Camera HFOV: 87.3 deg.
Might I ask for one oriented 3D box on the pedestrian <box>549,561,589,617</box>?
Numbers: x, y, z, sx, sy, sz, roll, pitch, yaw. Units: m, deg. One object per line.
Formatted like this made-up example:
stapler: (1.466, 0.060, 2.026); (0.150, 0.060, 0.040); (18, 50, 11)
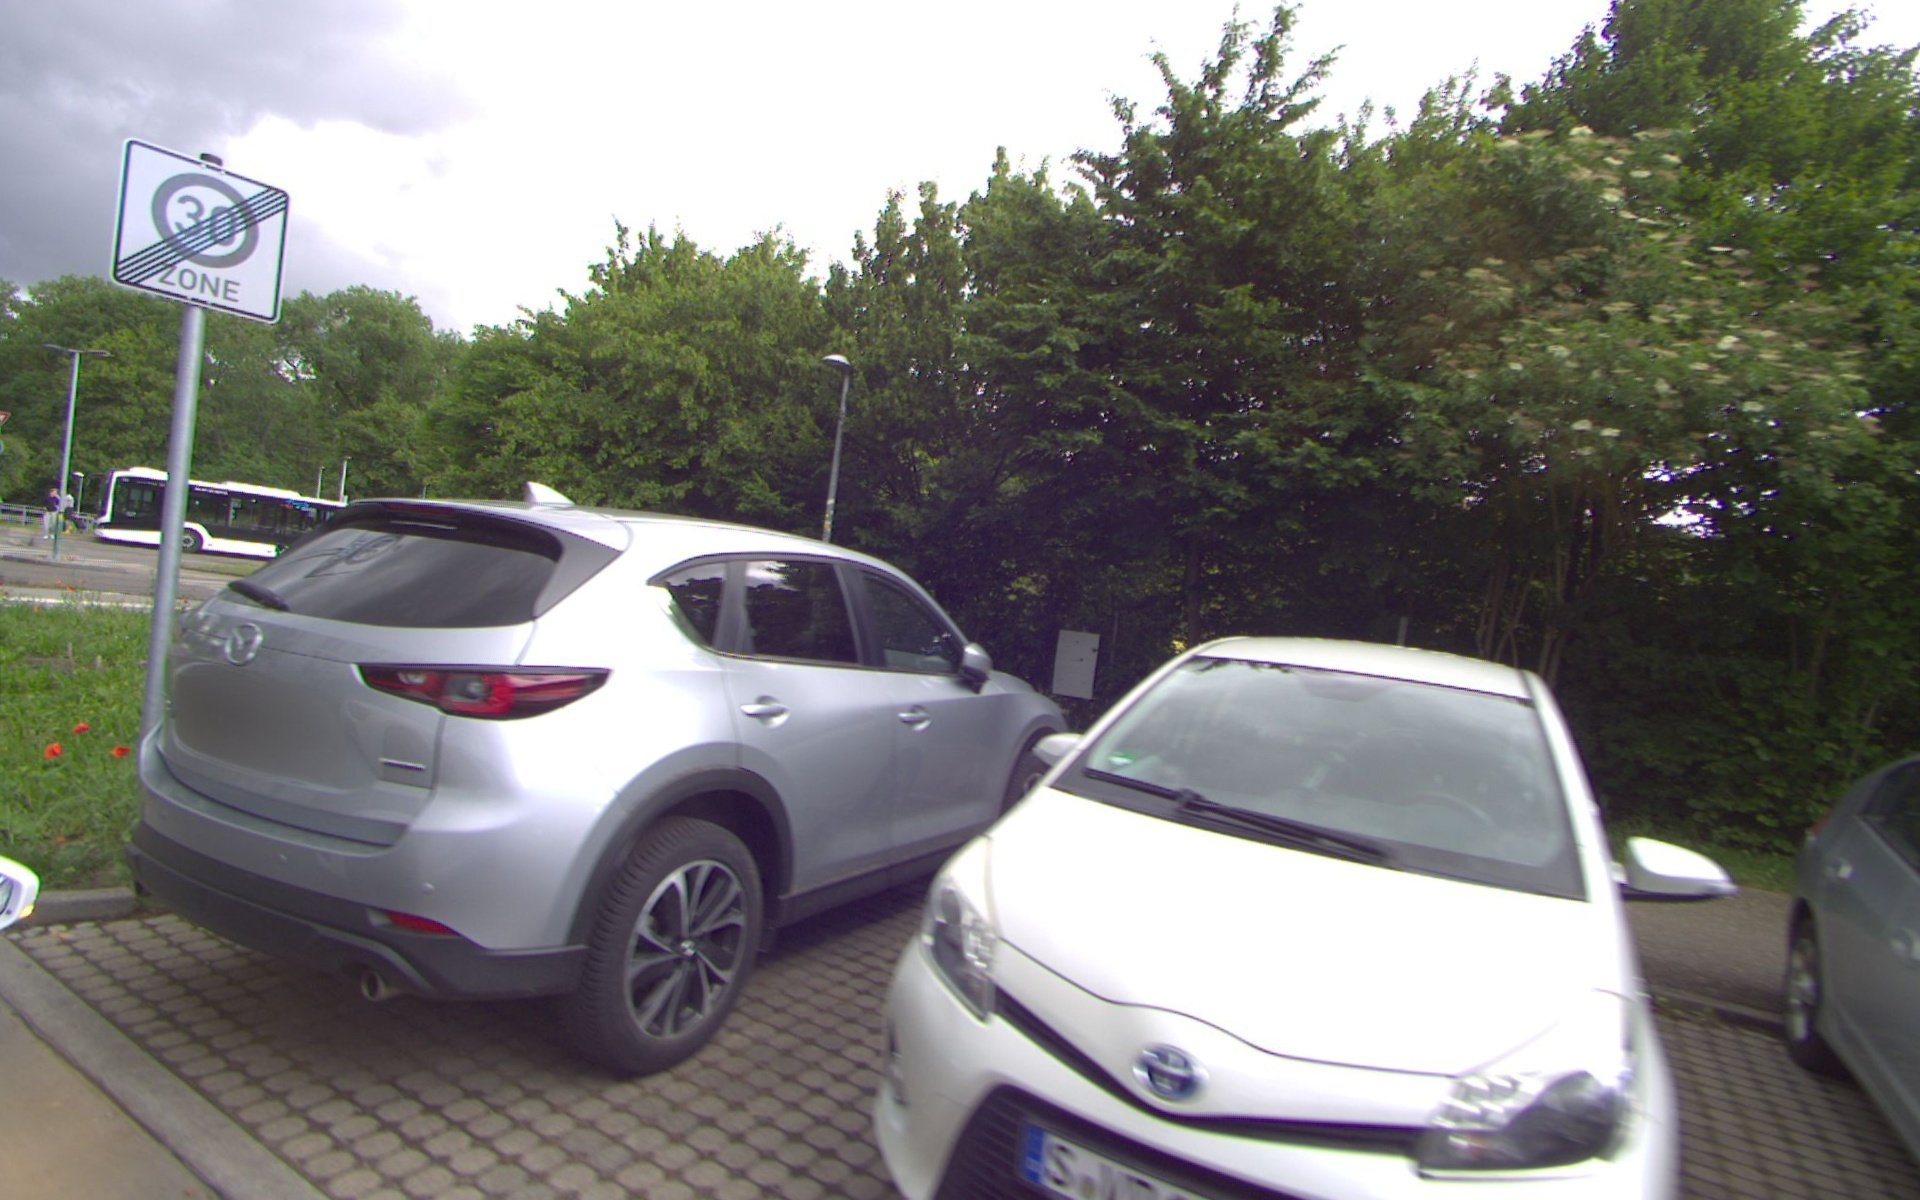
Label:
pedestrian: (-11.884, -0.329, 30.592); (0.674, 1.613, 0.772); (7, 0, 11)

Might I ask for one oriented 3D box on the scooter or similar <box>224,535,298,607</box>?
scooter or similar: (-13.838, -0.544, 19.958); (0.612, 1.289, 1.492); (7, -2, -15)

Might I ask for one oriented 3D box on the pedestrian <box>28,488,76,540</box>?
pedestrian: (-33.729, -3.180, 37.382); (0.946, 1.768, 1.055); (7, 0, -28)

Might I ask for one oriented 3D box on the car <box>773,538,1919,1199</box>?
car: (1.422, 0.890, 3.595); (1.765, 1.605, 4.162); (7, 0, 29)

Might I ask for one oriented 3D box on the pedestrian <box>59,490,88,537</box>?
pedestrian: (-35.615, -3.454, 40.425); (0.717, 1.769, 0.946); (7, 0, -40)

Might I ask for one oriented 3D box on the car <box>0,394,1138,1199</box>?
car: (-0.942, 0.466, 4.634); (2.034, 1.775, 4.655); (7, 1, 27)

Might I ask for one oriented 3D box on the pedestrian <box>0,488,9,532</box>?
pedestrian: (-35.592, -3.352, 36.929); (0.684, 1.586, 0.727); (7, 0, -28)

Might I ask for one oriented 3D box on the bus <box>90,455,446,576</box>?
bus: (-29.087, -3.397, 43.159); (2.640, 3.242, 12.133); (7, -1, 44)

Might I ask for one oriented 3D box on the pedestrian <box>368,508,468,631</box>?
pedestrian: (-8.784, -0.465, 16.344); (0.841, 1.844, 0.985); (7, 0, 6)

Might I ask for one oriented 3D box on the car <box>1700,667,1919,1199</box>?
car: (3.580, 1.114, 2.671); (1.879, 1.582, 4.483); (7, 1, 29)
